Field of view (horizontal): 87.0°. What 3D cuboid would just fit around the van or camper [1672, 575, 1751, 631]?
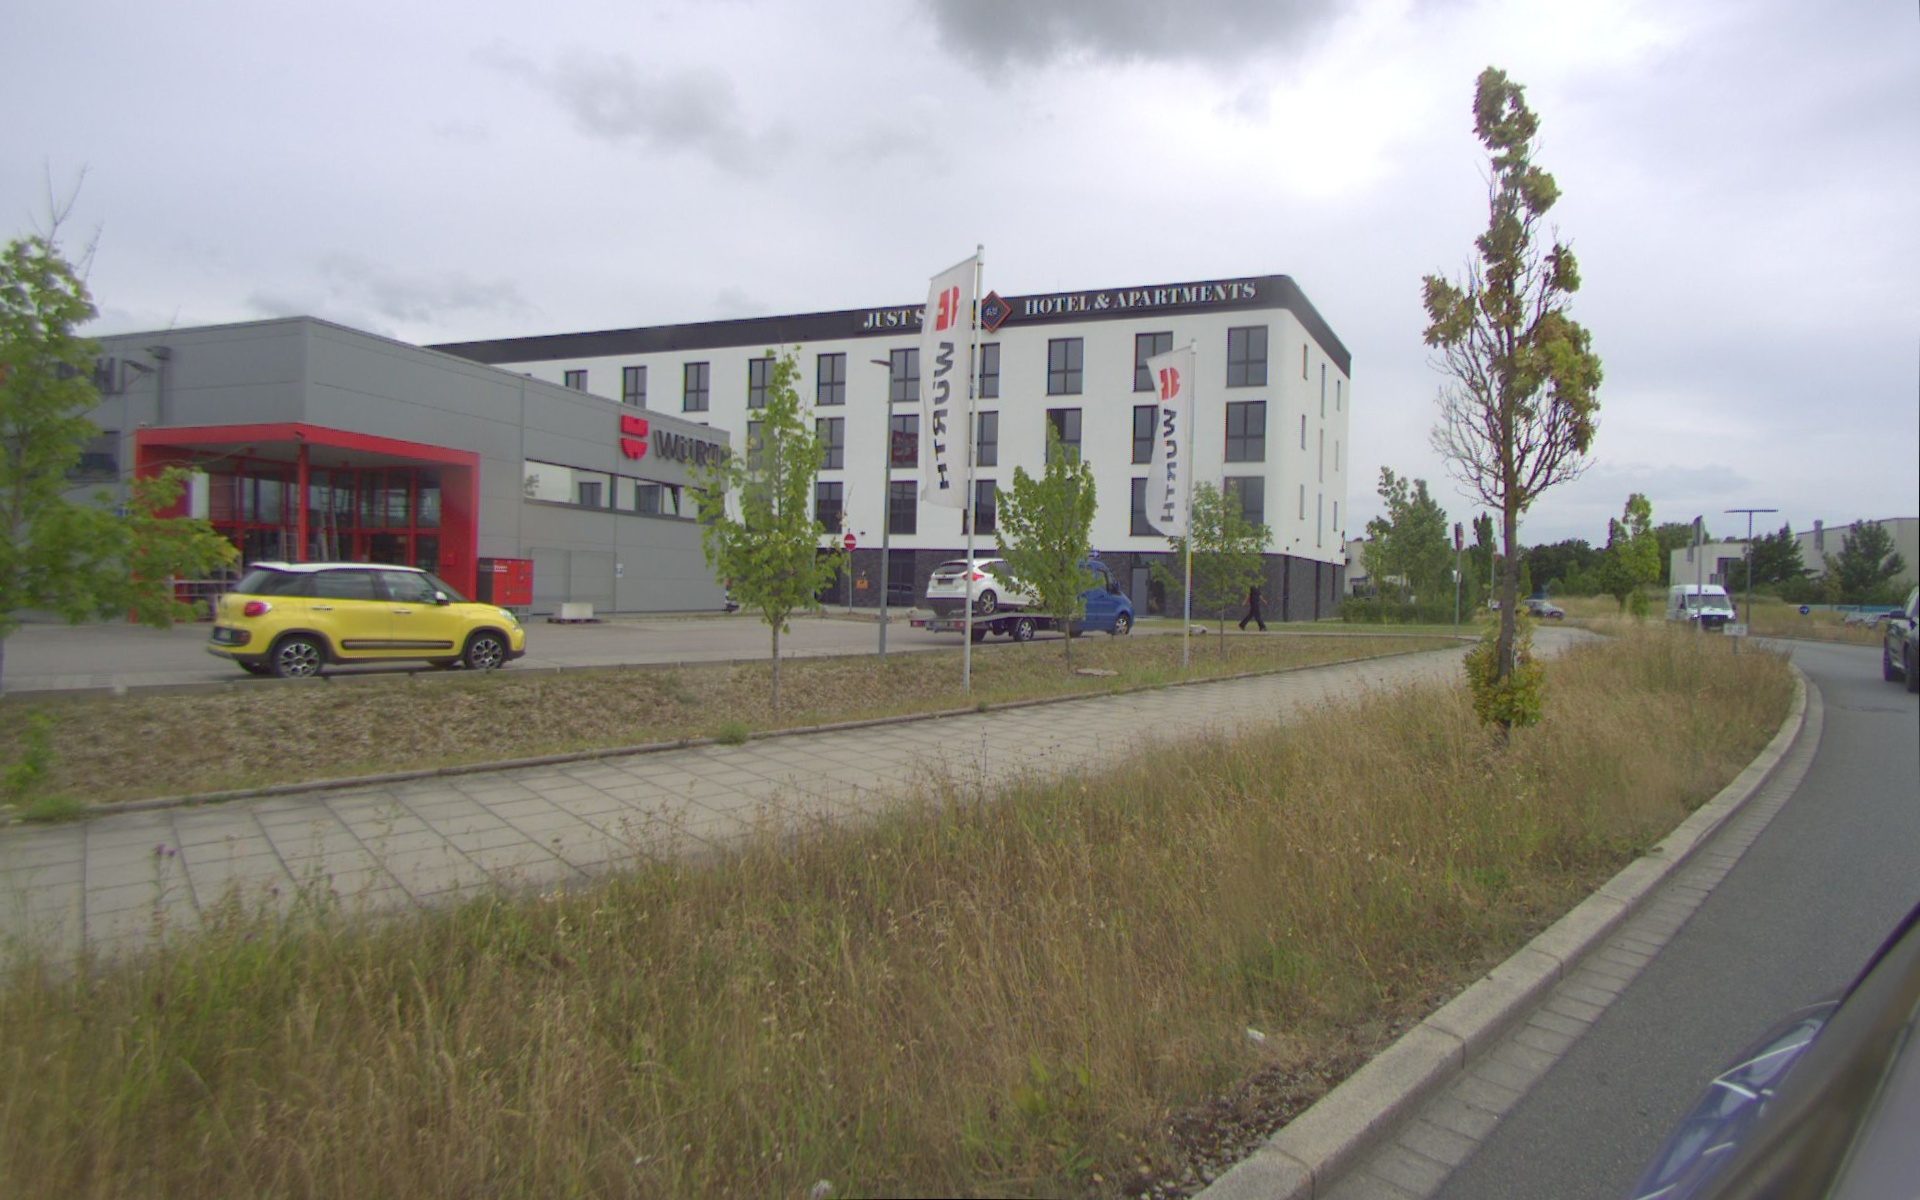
[{"bbox_3d":[38.056,0.117,51.410,2.244,2.649,5.644,2,1,27],"label":"van or camper"}]

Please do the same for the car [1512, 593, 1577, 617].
[{"bbox_3d":[42.231,0.327,73.243,1.959,1.605,4.006,0,1,-8],"label":"car"}]

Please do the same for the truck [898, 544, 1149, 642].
[{"bbox_3d":[2.012,-0.208,27.917,2.227,2.354,8.085,2,1,43],"label":"truck"}]

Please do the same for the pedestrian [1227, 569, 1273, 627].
[{"bbox_3d":[9.709,-0.092,33.834,1.187,1.880,1.061,2,3,35],"label":"pedestrian"}]

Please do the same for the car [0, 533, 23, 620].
[{"bbox_3d":[-23.567,-0.532,21.800,1.975,2.012,4.606,1,1,20],"label":"car"}]

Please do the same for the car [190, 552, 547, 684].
[{"bbox_3d":[-8.786,0.201,15.355,1.760,1.707,4.348,2,1,39],"label":"car"}]

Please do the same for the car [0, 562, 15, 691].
[{"bbox_3d":[-13.558,0.336,11.175,4.532,1.515,1.996,-2,3,-44],"label":"car"}]

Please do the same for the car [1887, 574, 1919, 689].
[{"bbox_3d":[16.006,0.468,15.765,1.989,1.685,3.945,1,1,38],"label":"car"}]
